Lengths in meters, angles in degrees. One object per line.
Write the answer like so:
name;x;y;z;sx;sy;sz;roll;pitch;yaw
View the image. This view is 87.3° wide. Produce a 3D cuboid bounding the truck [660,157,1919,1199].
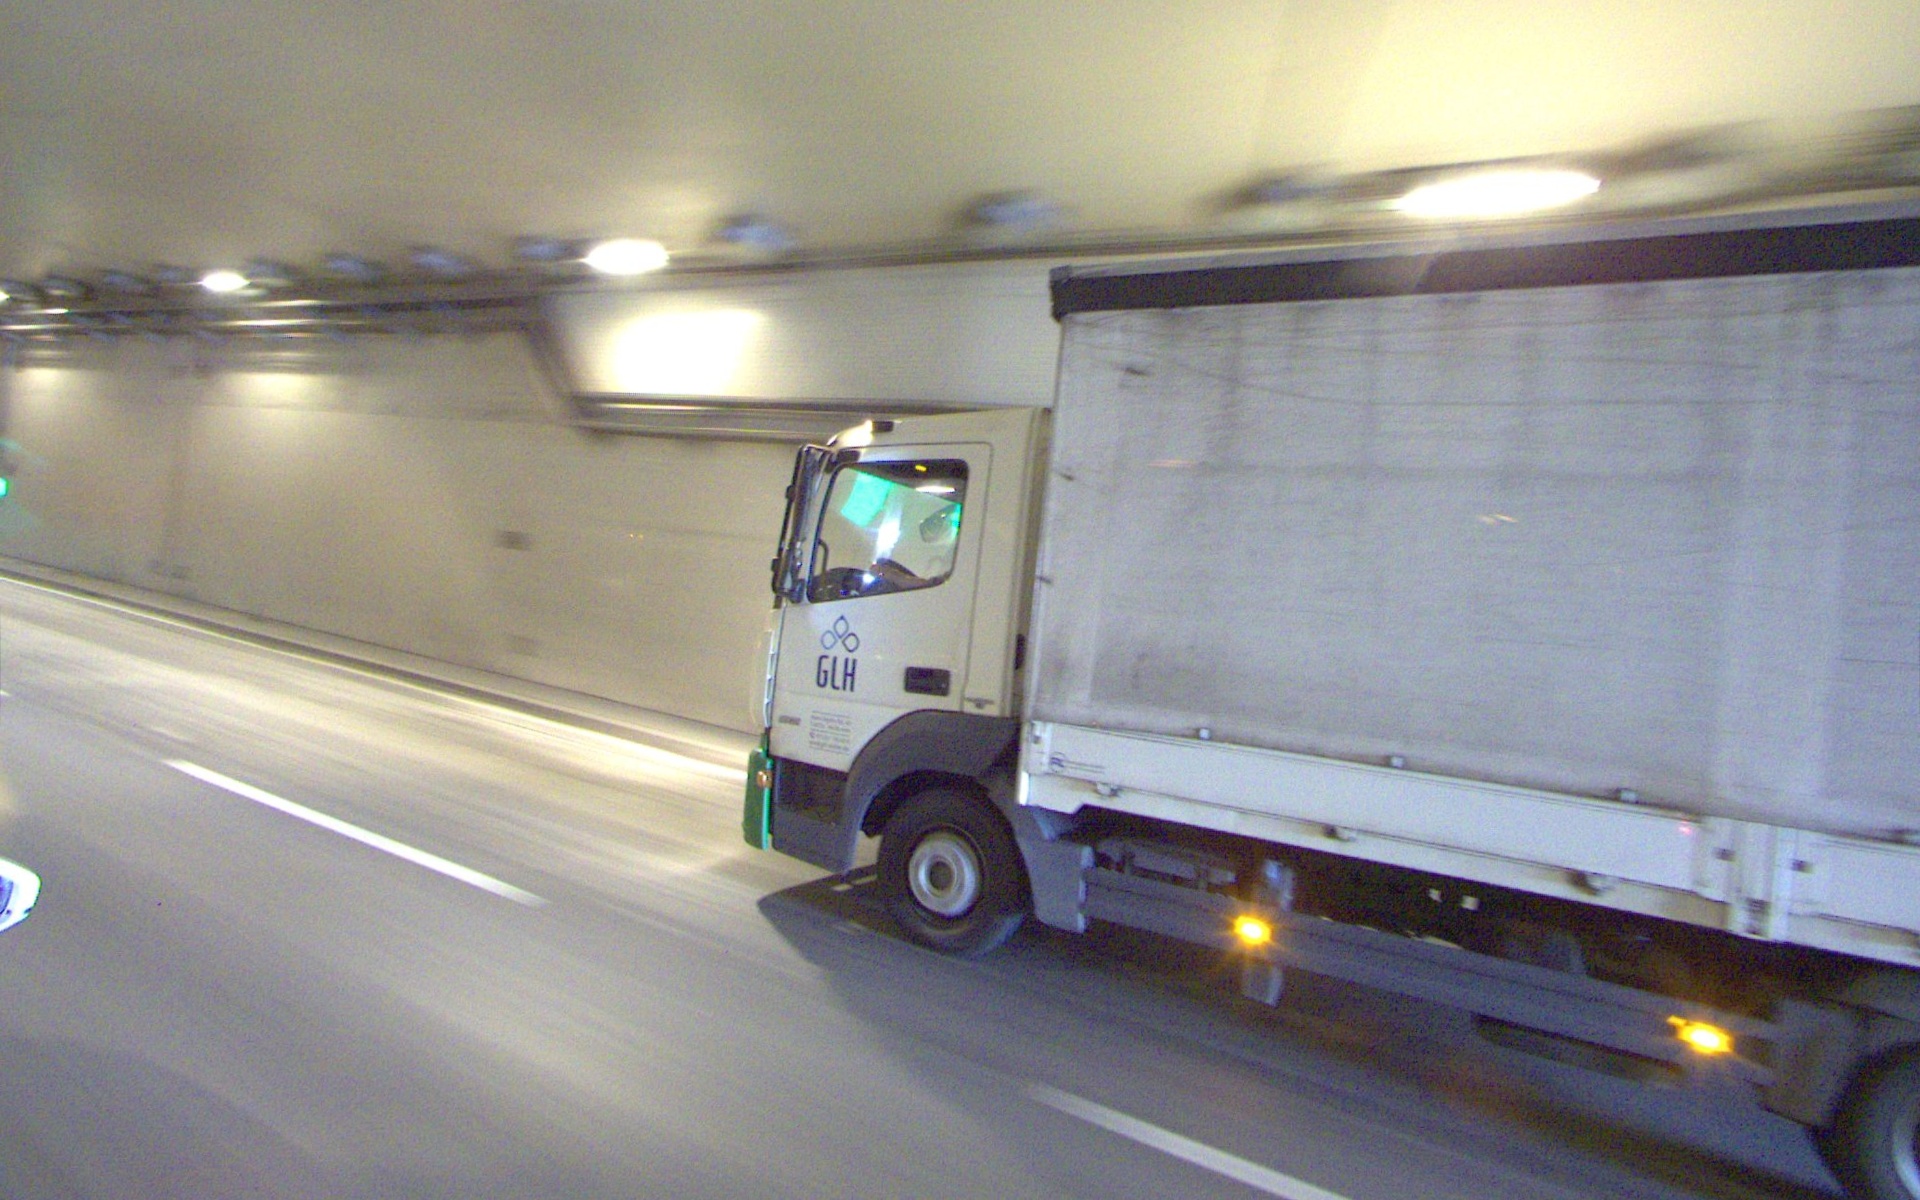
truck;2.404;0.317;4.487;7.119;3.219;2.560;7;-1;28
